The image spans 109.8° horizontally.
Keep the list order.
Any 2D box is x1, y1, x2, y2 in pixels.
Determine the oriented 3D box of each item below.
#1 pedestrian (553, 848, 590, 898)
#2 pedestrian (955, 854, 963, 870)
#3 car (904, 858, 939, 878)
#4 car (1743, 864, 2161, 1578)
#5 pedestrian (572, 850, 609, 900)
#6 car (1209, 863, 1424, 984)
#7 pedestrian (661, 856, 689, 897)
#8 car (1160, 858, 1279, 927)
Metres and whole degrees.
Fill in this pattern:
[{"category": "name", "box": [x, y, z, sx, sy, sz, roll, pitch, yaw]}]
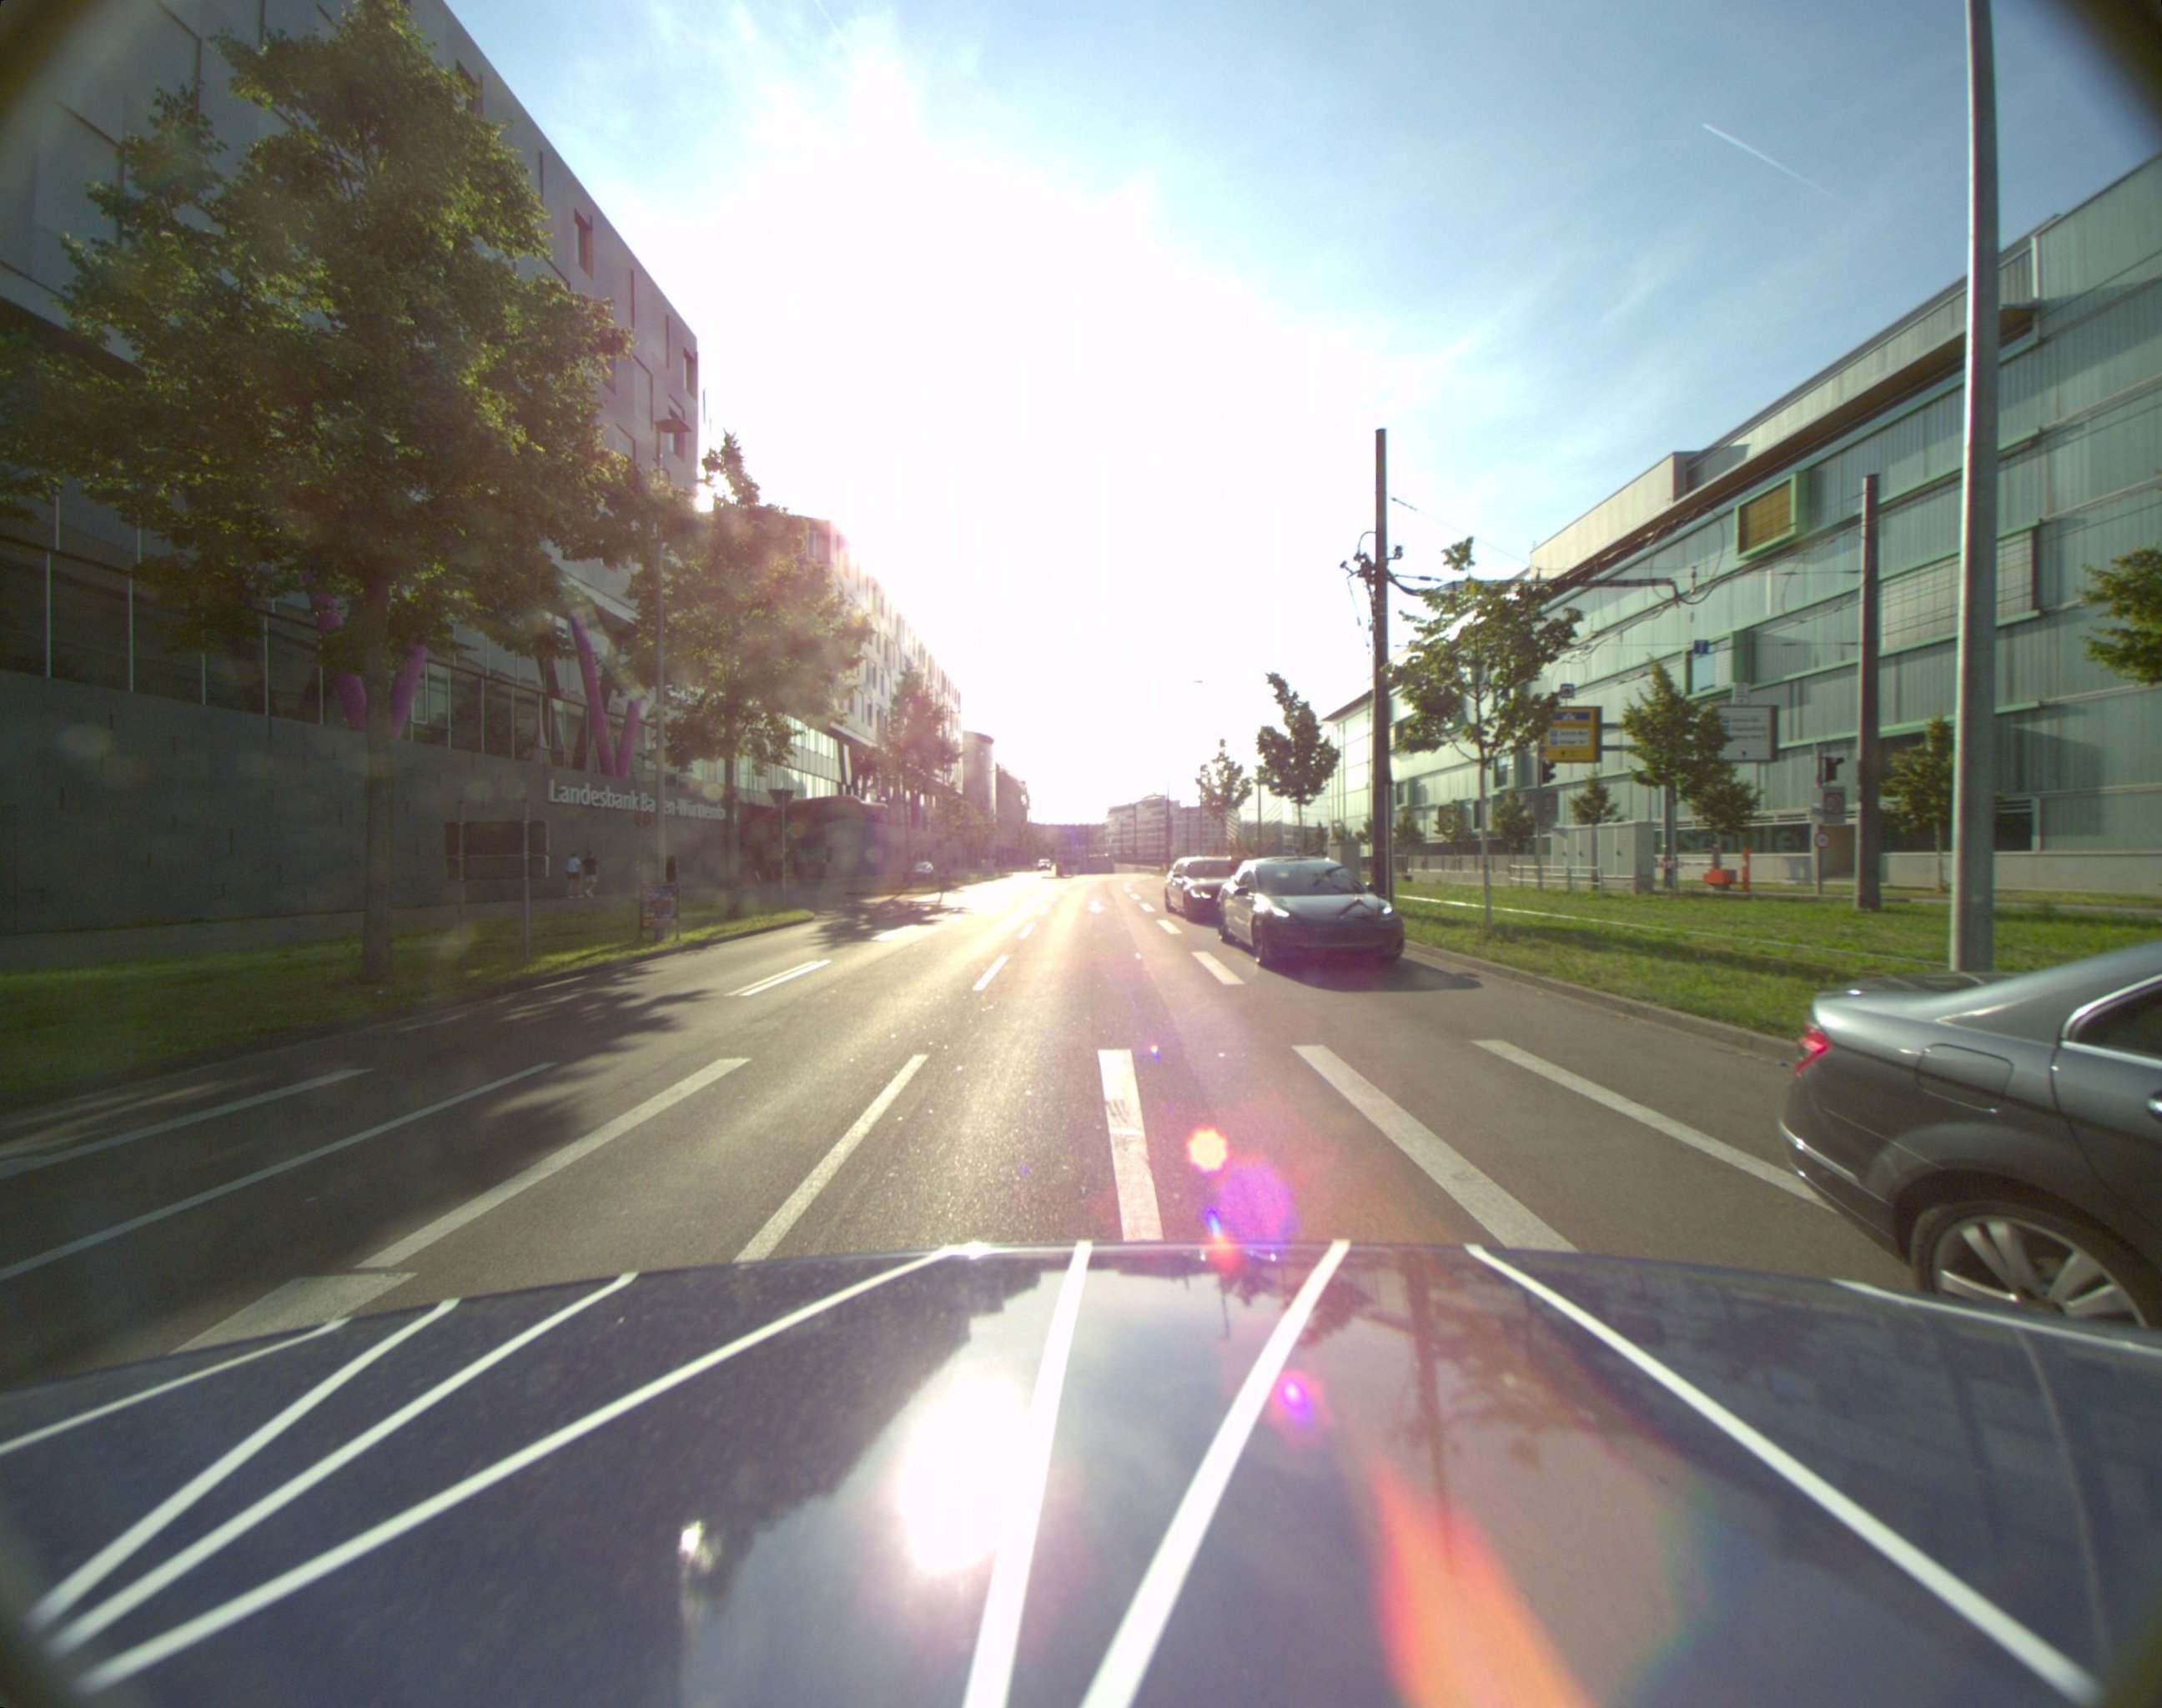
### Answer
[{"category": "pedestrian", "box": [-18.750, 0.685, 27.986, 0.770, 1.814, 0.853, 2, 0, 0]}, {"category": "pedestrian", "box": [-13.587, 0.908, 84.778, 0.725, 1.776, 0.771, 0, 1, 0]}, {"category": "car", "box": [-11.597, 0.990, 55.590, 1.696, 1.382, 4.199, 0, -1, -1]}, {"category": "car", "box": [3.131, 0.778, 0.439, 1.791, 1.470, 4.354, -2, 0, 3]}, {"category": "pedestrian", "box": [-18.018, 0.765, 27.918, 0.756, 1.783, 0.844, 2, 0, 0]}, {"category": "car", "box": [3.207, 0.867, 11.350, 1.894, 1.377, 4.335, -2, 0, 1]}, {"category": "pedestrian", "box": [-16.536, 0.913, 30.962, 0.695, 1.629, 0.736, 0, 2, 0]}, {"category": "car", "box": [3.240, 0.844, 18.712, 1.895, 1.418, 4.472, -2, 0, -2]}]
